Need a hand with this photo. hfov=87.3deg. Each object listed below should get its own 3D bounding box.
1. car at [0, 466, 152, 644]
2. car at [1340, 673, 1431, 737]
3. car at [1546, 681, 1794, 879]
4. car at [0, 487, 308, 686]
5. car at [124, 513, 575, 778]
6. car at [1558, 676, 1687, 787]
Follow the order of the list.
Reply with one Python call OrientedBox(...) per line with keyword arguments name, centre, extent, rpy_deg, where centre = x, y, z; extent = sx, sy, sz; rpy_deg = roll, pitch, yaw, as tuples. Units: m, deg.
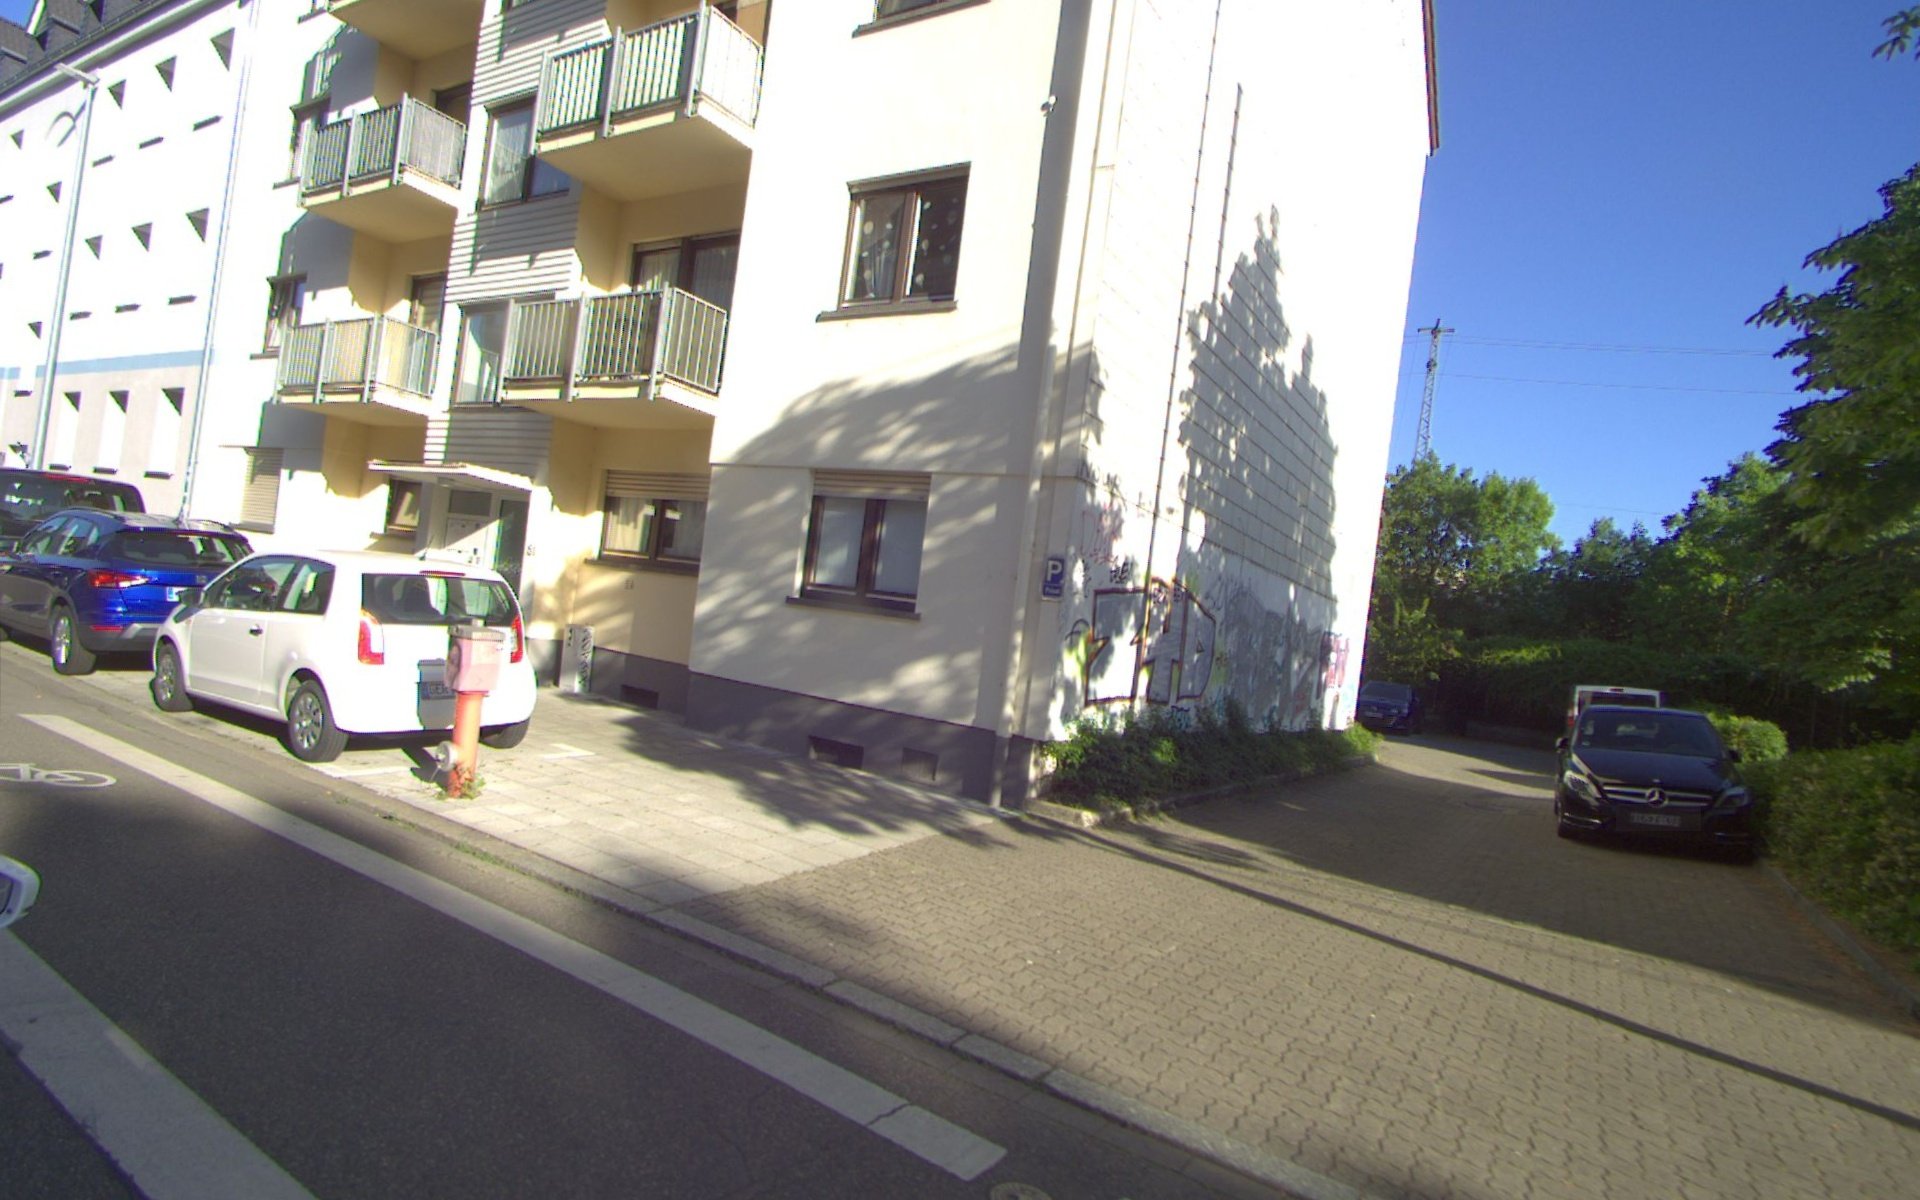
OrientedBox(name="car", centre=(-12.920, -0.730, 13.499), extent=(4.588, 1.966, 1.659), rpy_deg=(7, -2, 32))
OrientedBox(name="car", centre=(12.683, 3.091, 29.832), extent=(1.863, 1.503, 3.994), rpy_deg=(7, -1, 31))
OrientedBox(name="car", centre=(8.167, 2.012, 11.961), extent=(1.861, 1.642, 4.161), rpy_deg=(7, -3, 30))
OrientedBox(name="car", centre=(-8.825, -0.193, 10.619), extent=(3.812, 1.589, 1.659), rpy_deg=(7, -3, 32))
OrientedBox(name="car", centre=(-5.066, 0.314, 8.275), extent=(3.441, 1.589, 1.659), rpy_deg=(7, -3, 32))
OrientedBox(name="car", centre=(15.069, 3.011, 23.134), extent=(1.966, 2.005, 4.829), rpy_deg=(7, -3, 30))
